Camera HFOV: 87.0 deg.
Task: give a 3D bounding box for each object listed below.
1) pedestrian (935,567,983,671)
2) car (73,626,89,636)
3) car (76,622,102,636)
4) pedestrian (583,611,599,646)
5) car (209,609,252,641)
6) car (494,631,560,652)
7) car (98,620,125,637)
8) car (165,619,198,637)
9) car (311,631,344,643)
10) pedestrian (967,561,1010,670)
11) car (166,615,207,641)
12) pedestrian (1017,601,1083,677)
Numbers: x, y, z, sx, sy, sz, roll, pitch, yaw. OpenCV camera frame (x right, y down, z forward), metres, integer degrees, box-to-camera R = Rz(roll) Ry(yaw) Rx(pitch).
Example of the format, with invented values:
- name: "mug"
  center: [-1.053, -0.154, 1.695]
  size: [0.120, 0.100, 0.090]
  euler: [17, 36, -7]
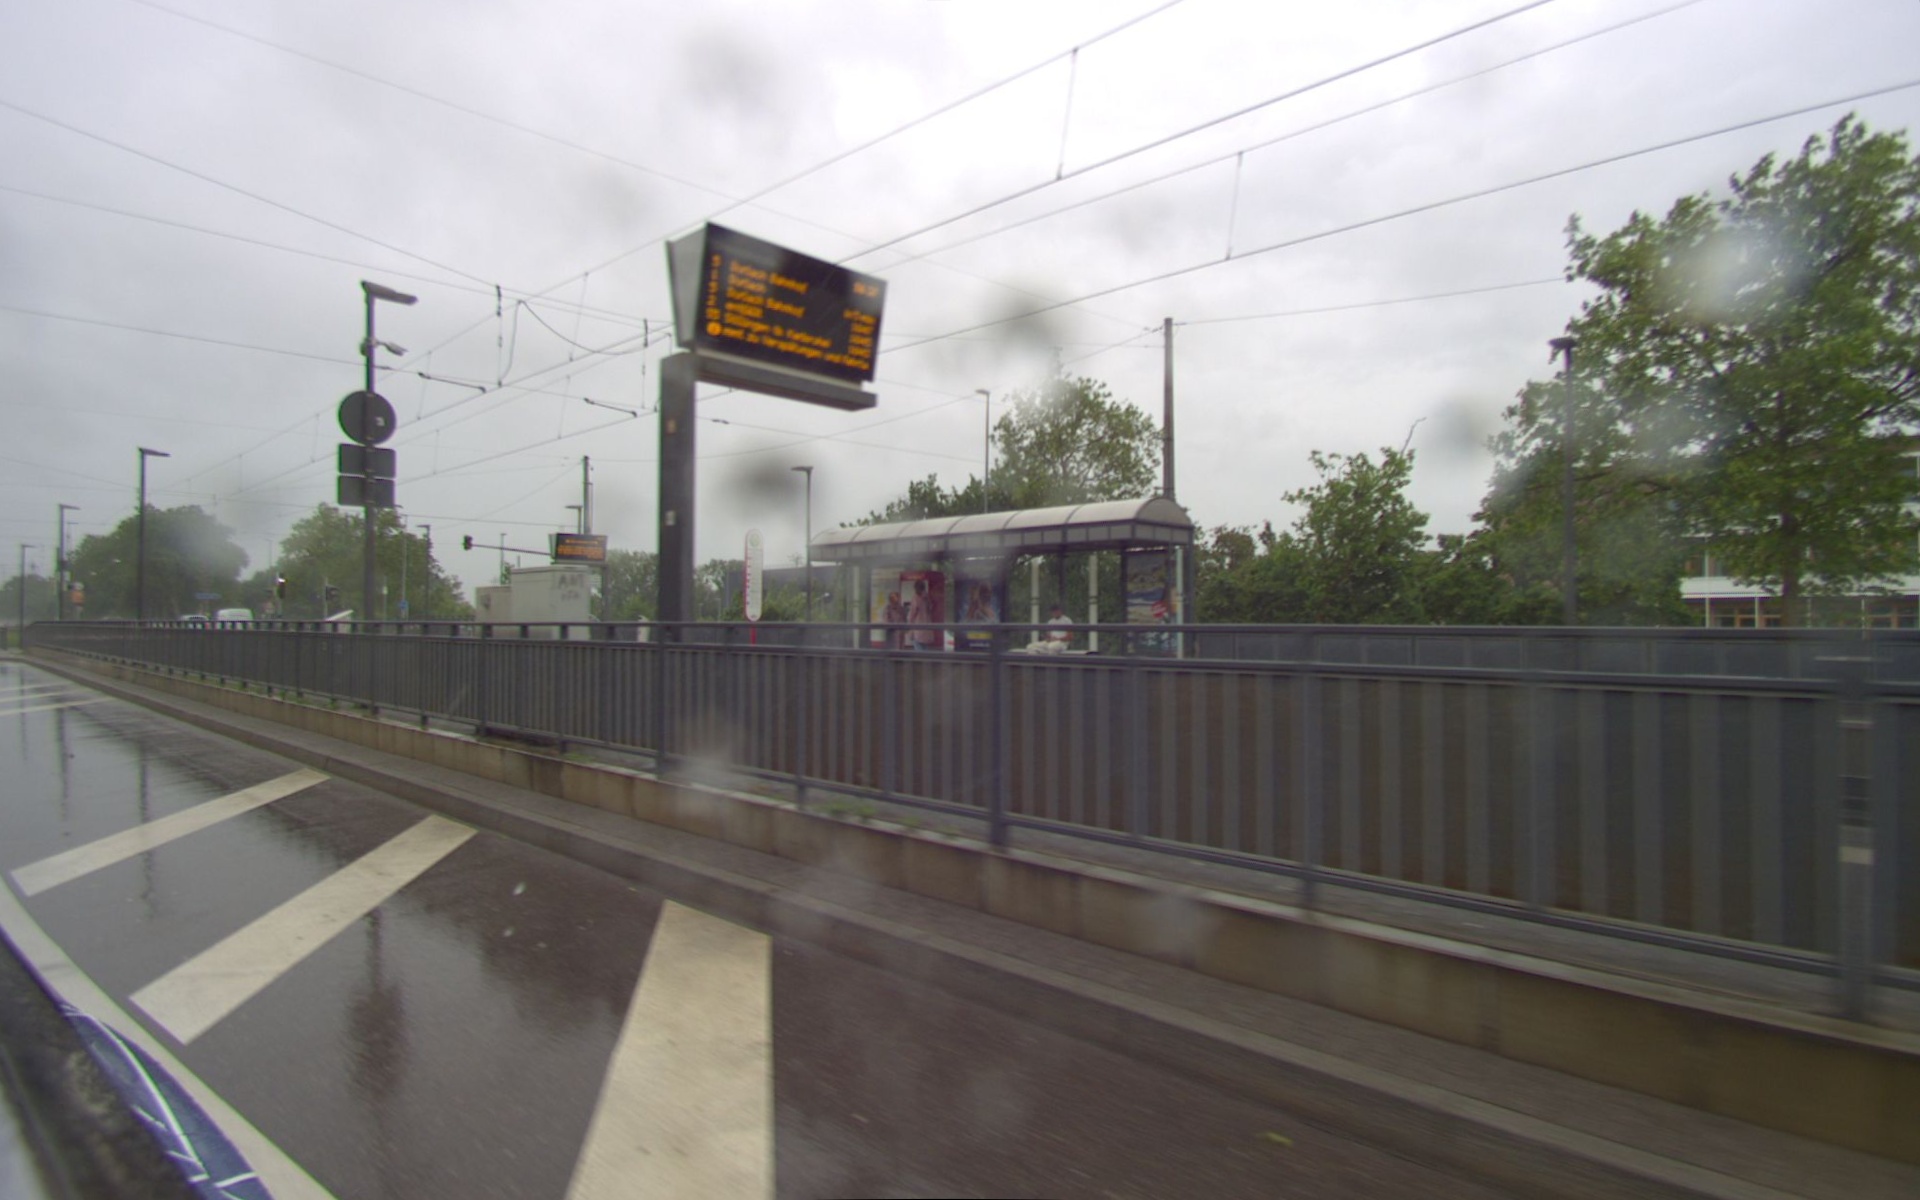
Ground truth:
- name: "pedestrian"
  center: [-0.036, 0.752, 40.685]
  size: [1.515, 4.059, 1.160]
  euler: [-1, -1, 32]
- name: "car"
  center: [-135.824, 4.769, 156.377]
  size: [3.620, 1.602, 1.584]
  euler: [-1, -1, 44]
- name: "car"
  center: [-111.077, 3.724, 129.030]
  size: [4.382, 1.608, 1.971]
  euler: [-2, -6, 44]
- name: "pedestrian"
  center: [-21.693, 1.665, 59.486]
  size: [0.697, 2.029, 0.691]
  euler: [-2, -2, 44]
- name: "car"
  center: [-65.203, 2.216, 90.394]
  size: [5.739, 2.733, 2.096]
  euler: [-1, -1, 44]
- name: "car"
  center: [-34.203, 3.307, 80.028]
  size: [4.306, 1.453, 2.003]
  euler: [5, -5, -41]
- name: "car"
  center: [-96.906, 3.245, 115.577]
  size: [4.258, 1.785, 1.971]
  euler: [-1, -1, 44]
- name: "car"
  center: [-78.736, 2.856, 102.389]
  size: [4.626, 1.720, 1.971]
  euler: [-1, -1, 44]
- name: "car"
  center: [-92.674, 5.420, 148.389]
  size: [1.972, 1.694, 4.538]
  euler: [0, -1, 0]
- name: "pedestrian"
  center: [1.058, 0.578, 38.515]
  size: [1.152, 4.059, 1.524]
  euler: [0, -1, -19]
- name: "car"
  center: [-64.287, 2.307, 84.048]
  size: [4.754, 2.029, 1.972]
  euler: [-2, -1, 43]
- name: "pedestrian"
  center: [1.641, 0.697, 18.443]
  size: [0.858, 1.326, 0.822]
  euler: [-2, -1, 43]
